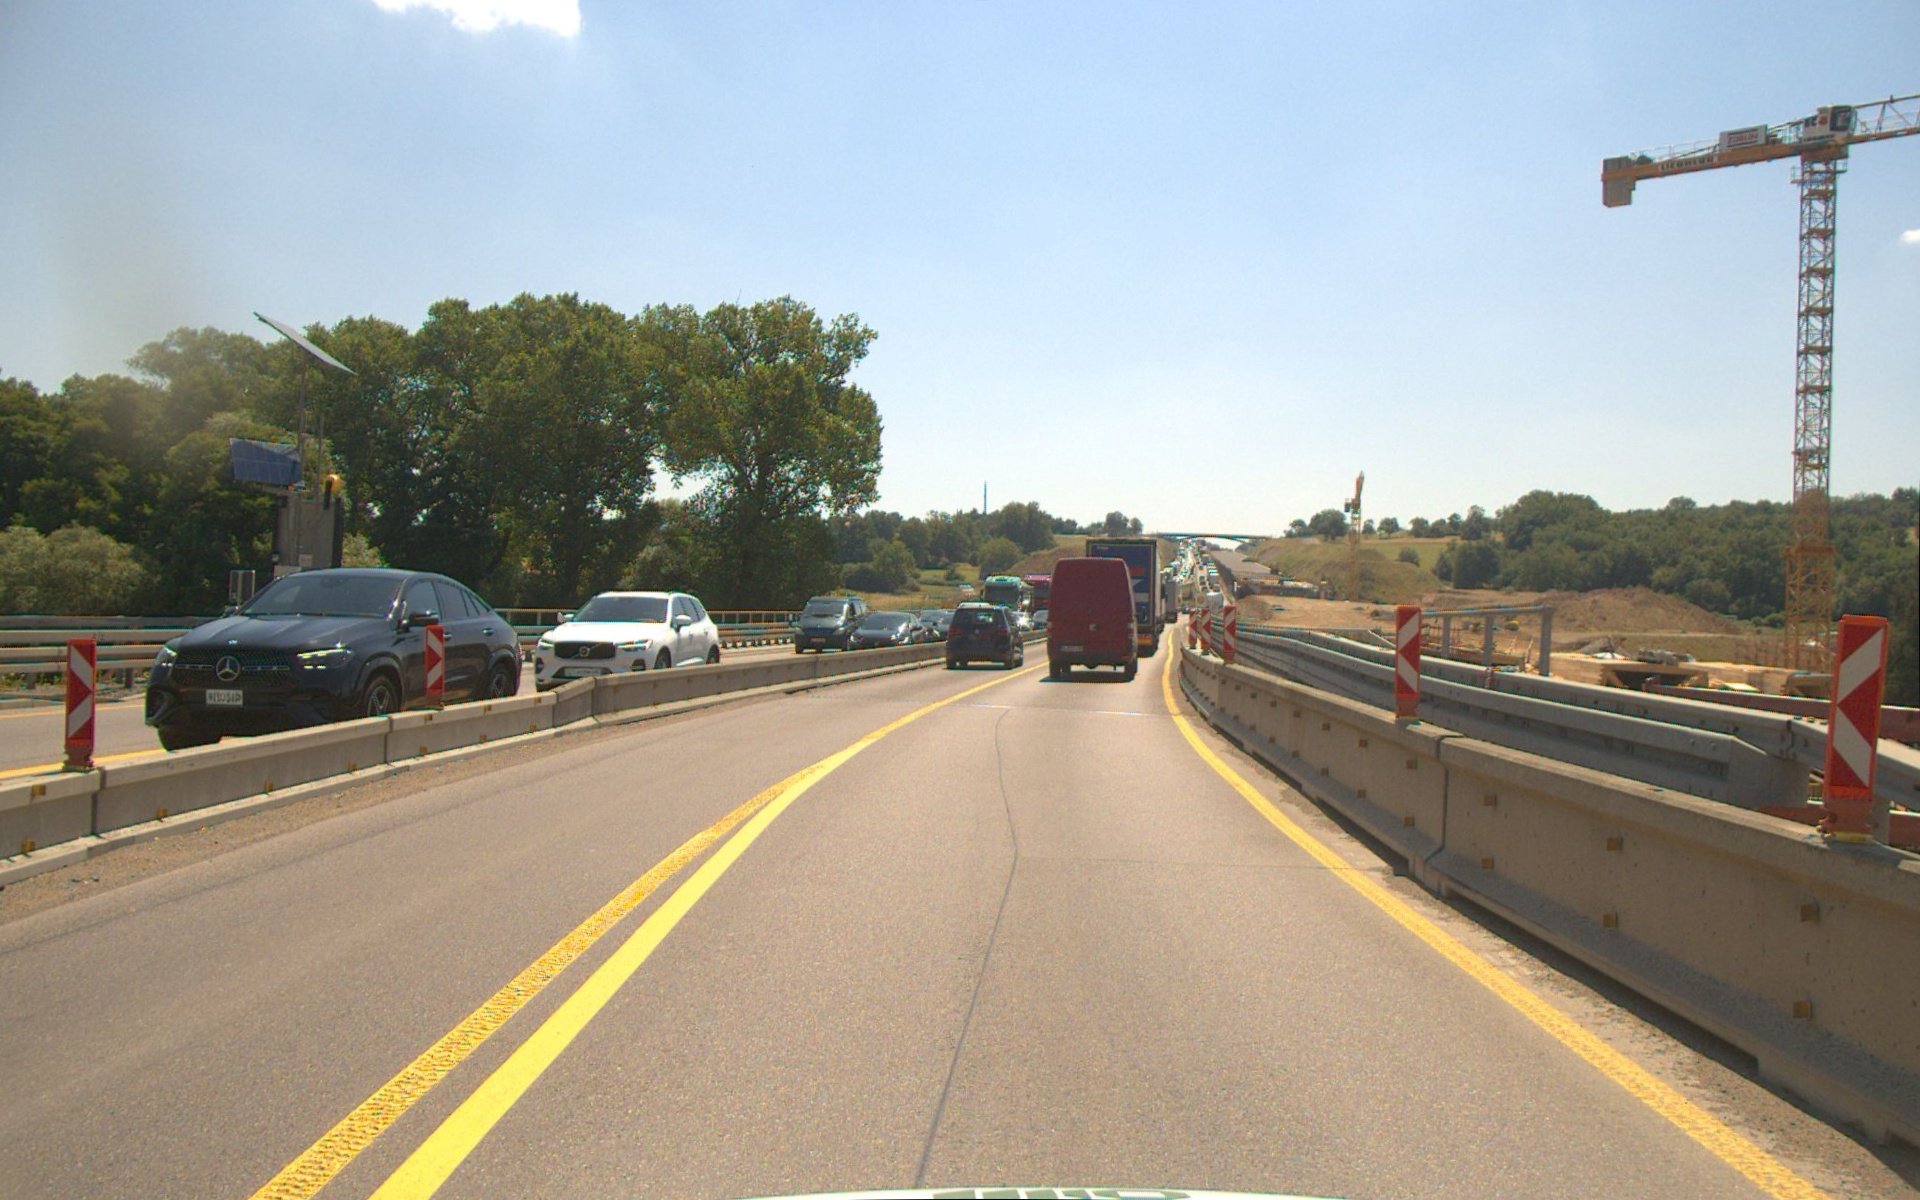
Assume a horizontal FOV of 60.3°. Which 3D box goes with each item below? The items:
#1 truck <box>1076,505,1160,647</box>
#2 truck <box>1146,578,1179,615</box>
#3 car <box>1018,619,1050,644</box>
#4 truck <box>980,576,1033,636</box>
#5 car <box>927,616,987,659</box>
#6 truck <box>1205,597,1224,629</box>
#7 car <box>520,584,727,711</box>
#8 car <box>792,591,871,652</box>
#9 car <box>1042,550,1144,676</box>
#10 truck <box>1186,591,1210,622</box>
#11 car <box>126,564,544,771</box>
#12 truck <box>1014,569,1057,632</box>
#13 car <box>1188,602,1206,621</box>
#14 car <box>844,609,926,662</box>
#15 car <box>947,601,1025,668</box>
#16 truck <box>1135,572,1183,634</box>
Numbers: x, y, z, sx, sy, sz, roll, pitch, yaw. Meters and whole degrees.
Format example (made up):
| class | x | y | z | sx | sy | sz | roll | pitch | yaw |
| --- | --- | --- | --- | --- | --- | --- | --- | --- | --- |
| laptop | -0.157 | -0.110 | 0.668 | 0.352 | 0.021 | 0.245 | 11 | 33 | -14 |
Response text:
| class | x | y | z | sx | sy | sz | roll | pitch | yaw |
| --- | --- | --- | --- | --- | --- | --- | --- | --- | --- |
| truck | 5.944 | -0.830 | 62.249 | 2.882 | 5.032 | 6.745 | 1 | -1 | 5 |
| truck | 20.527 | -0.297 | 167.704 | 3.116 | 3.030 | 8.903 | 1 | -4 | 7 |
| car | 4.833 | 2.050 | 107.337 | 1.782 | 1.522 | 4.136 | 2 | 0 | 6 |
| truck | 3.472 | 0.438 | 119.261 | 2.749 | 4.033 | 12.141 | 2 | 0 | 6 |
| car | -0.090 | 1.381 | 62.608 | 1.720 | 1.522 | 4.443 | 2 | 0 | 7 |
| truck | 33.966 | 1.762 | 220.940 | 2.242 | 3.805 | 6.485 | 1 | -4 | 7 |
| car | -5.099 | 0.650 | 25.707 | 1.782 | 1.675 | 4.574 | 2 | 1 | 7 |
| car | -4.429 | 0.731 | 57.766 | 1.782 | 1.977 | 5.067 | 2 | 0 | 6 |
| car | 3.071 | 0.382 | 38.475 | 2.105 | 2.657 | 5.440 | 2 | -2 | 4 |
| truck | 25.195 | 0.669 | 175.453 | 2.242 | 3.252 | 6.487 | 1 | 0 | 6 |
| car | -5.854 | 0.555 | 16.249 | 1.841 | 1.676 | 4.718 | 2 | 0 | 7 |
| truck | 6.456 | 0.117 | 140.364 | 2.749 | 5.026 | 12.141 | 2 | 0 | 6 |
| car | 22.274 | 1.086 | 155.650 | 1.583 | 1.729 | 3.892 | 2 | 0 | 7 |
| car | -2.108 | 0.993 | 47.460 | 1.633 | 1.389 | 4.443 | 2 | 0 | 7 |
| car | 0.743 | 0.876 | 44.332 | 1.697 | 1.664 | 4.392 | 1 | 0 | 6 |
| truck | 13.518 | 0.240 | 112.103 | 3.114 | 4.059 | 6.746 | 1 | -1 | 7 |
